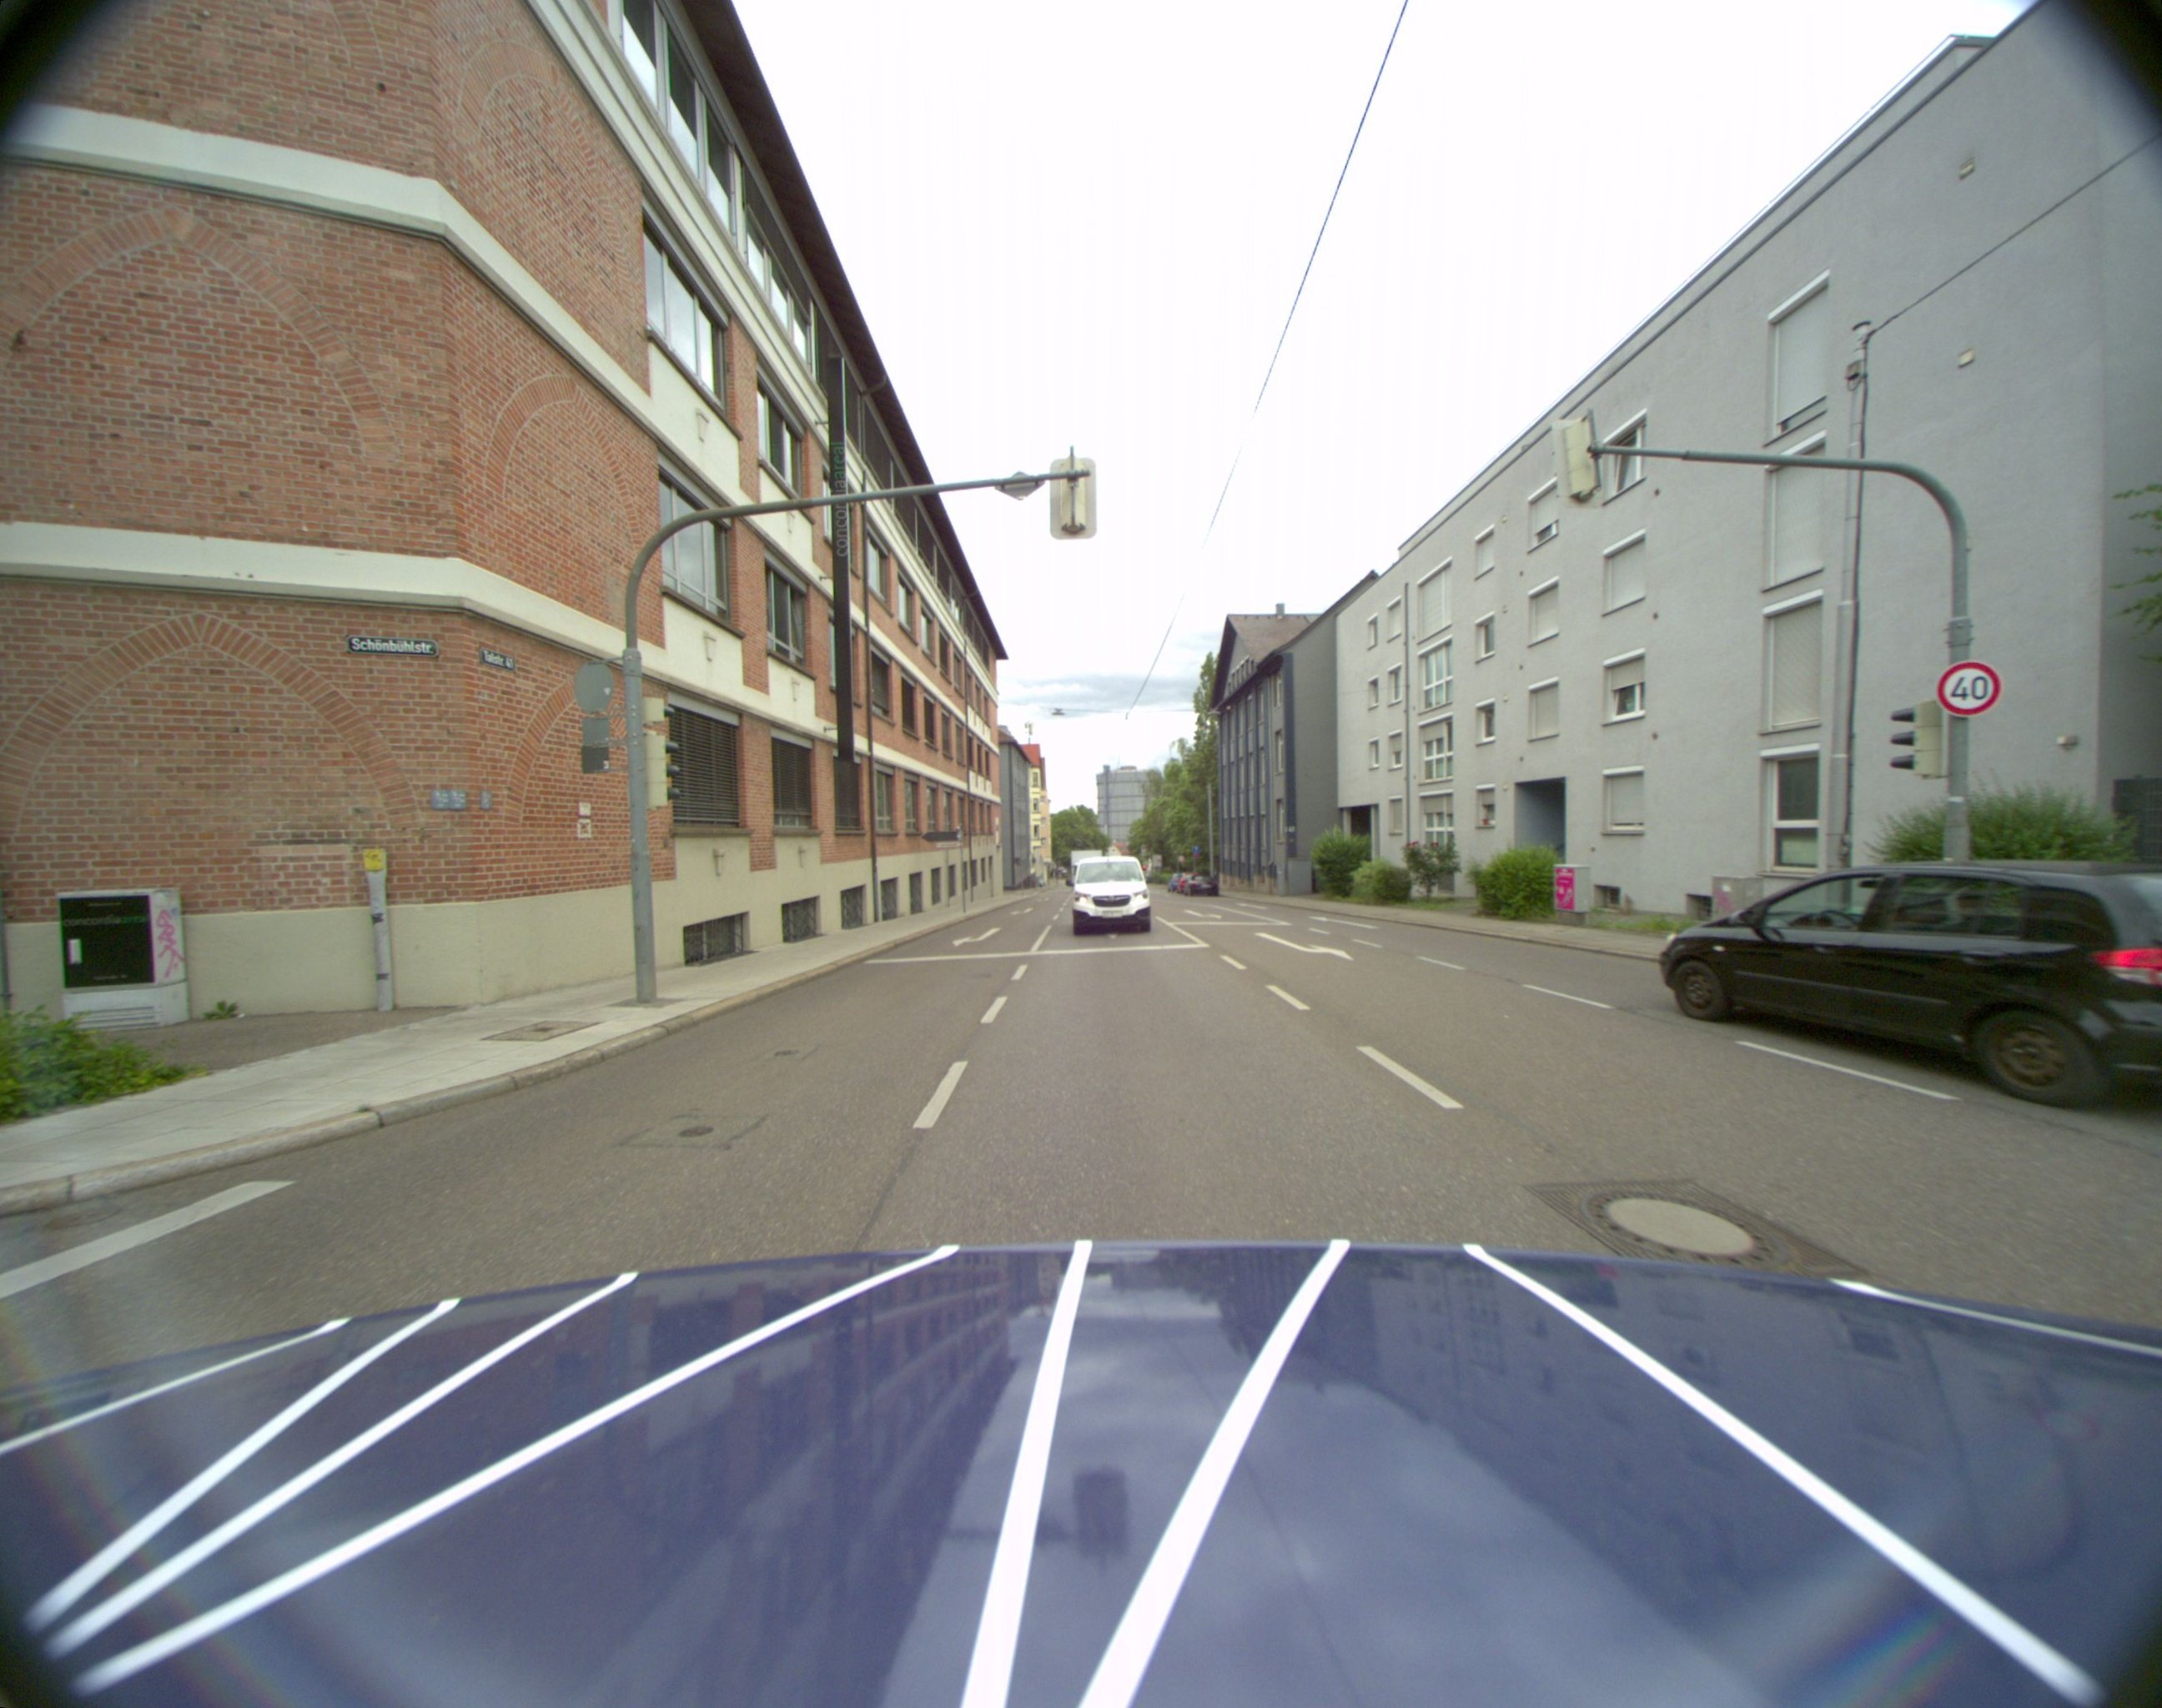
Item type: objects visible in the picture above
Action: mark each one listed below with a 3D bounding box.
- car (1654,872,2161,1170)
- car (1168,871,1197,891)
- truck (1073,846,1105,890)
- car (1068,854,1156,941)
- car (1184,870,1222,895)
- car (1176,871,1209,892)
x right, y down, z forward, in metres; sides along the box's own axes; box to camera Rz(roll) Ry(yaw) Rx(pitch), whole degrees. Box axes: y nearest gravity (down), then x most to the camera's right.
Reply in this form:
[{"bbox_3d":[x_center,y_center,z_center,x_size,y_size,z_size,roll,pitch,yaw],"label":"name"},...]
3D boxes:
[{"bbox_3d":[6.387,0.903,5.628,1.591,1.455,3.616,-1,0,1],"label":"car"},{"bbox_3d":[7.867,2.061,59.340,1.799,1.401,4.000,-1,0,1],"label":"car"},{"bbox_3d":[0.689,1.171,65.110,2.545,3.478,8.521,-1,0,1],"label":"truck"},{"bbox_3d":[0.707,1.010,18.767,1.850,1.831,4.284,-2,-1,1],"label":"car"},{"bbox_3d":[7.646,1.779,48.089,1.799,1.401,4.000,-1,0,1],"label":"car"},{"bbox_3d":[7.847,1.918,53.885,1.799,1.401,4.000,-1,0,1],"label":"car"}]
